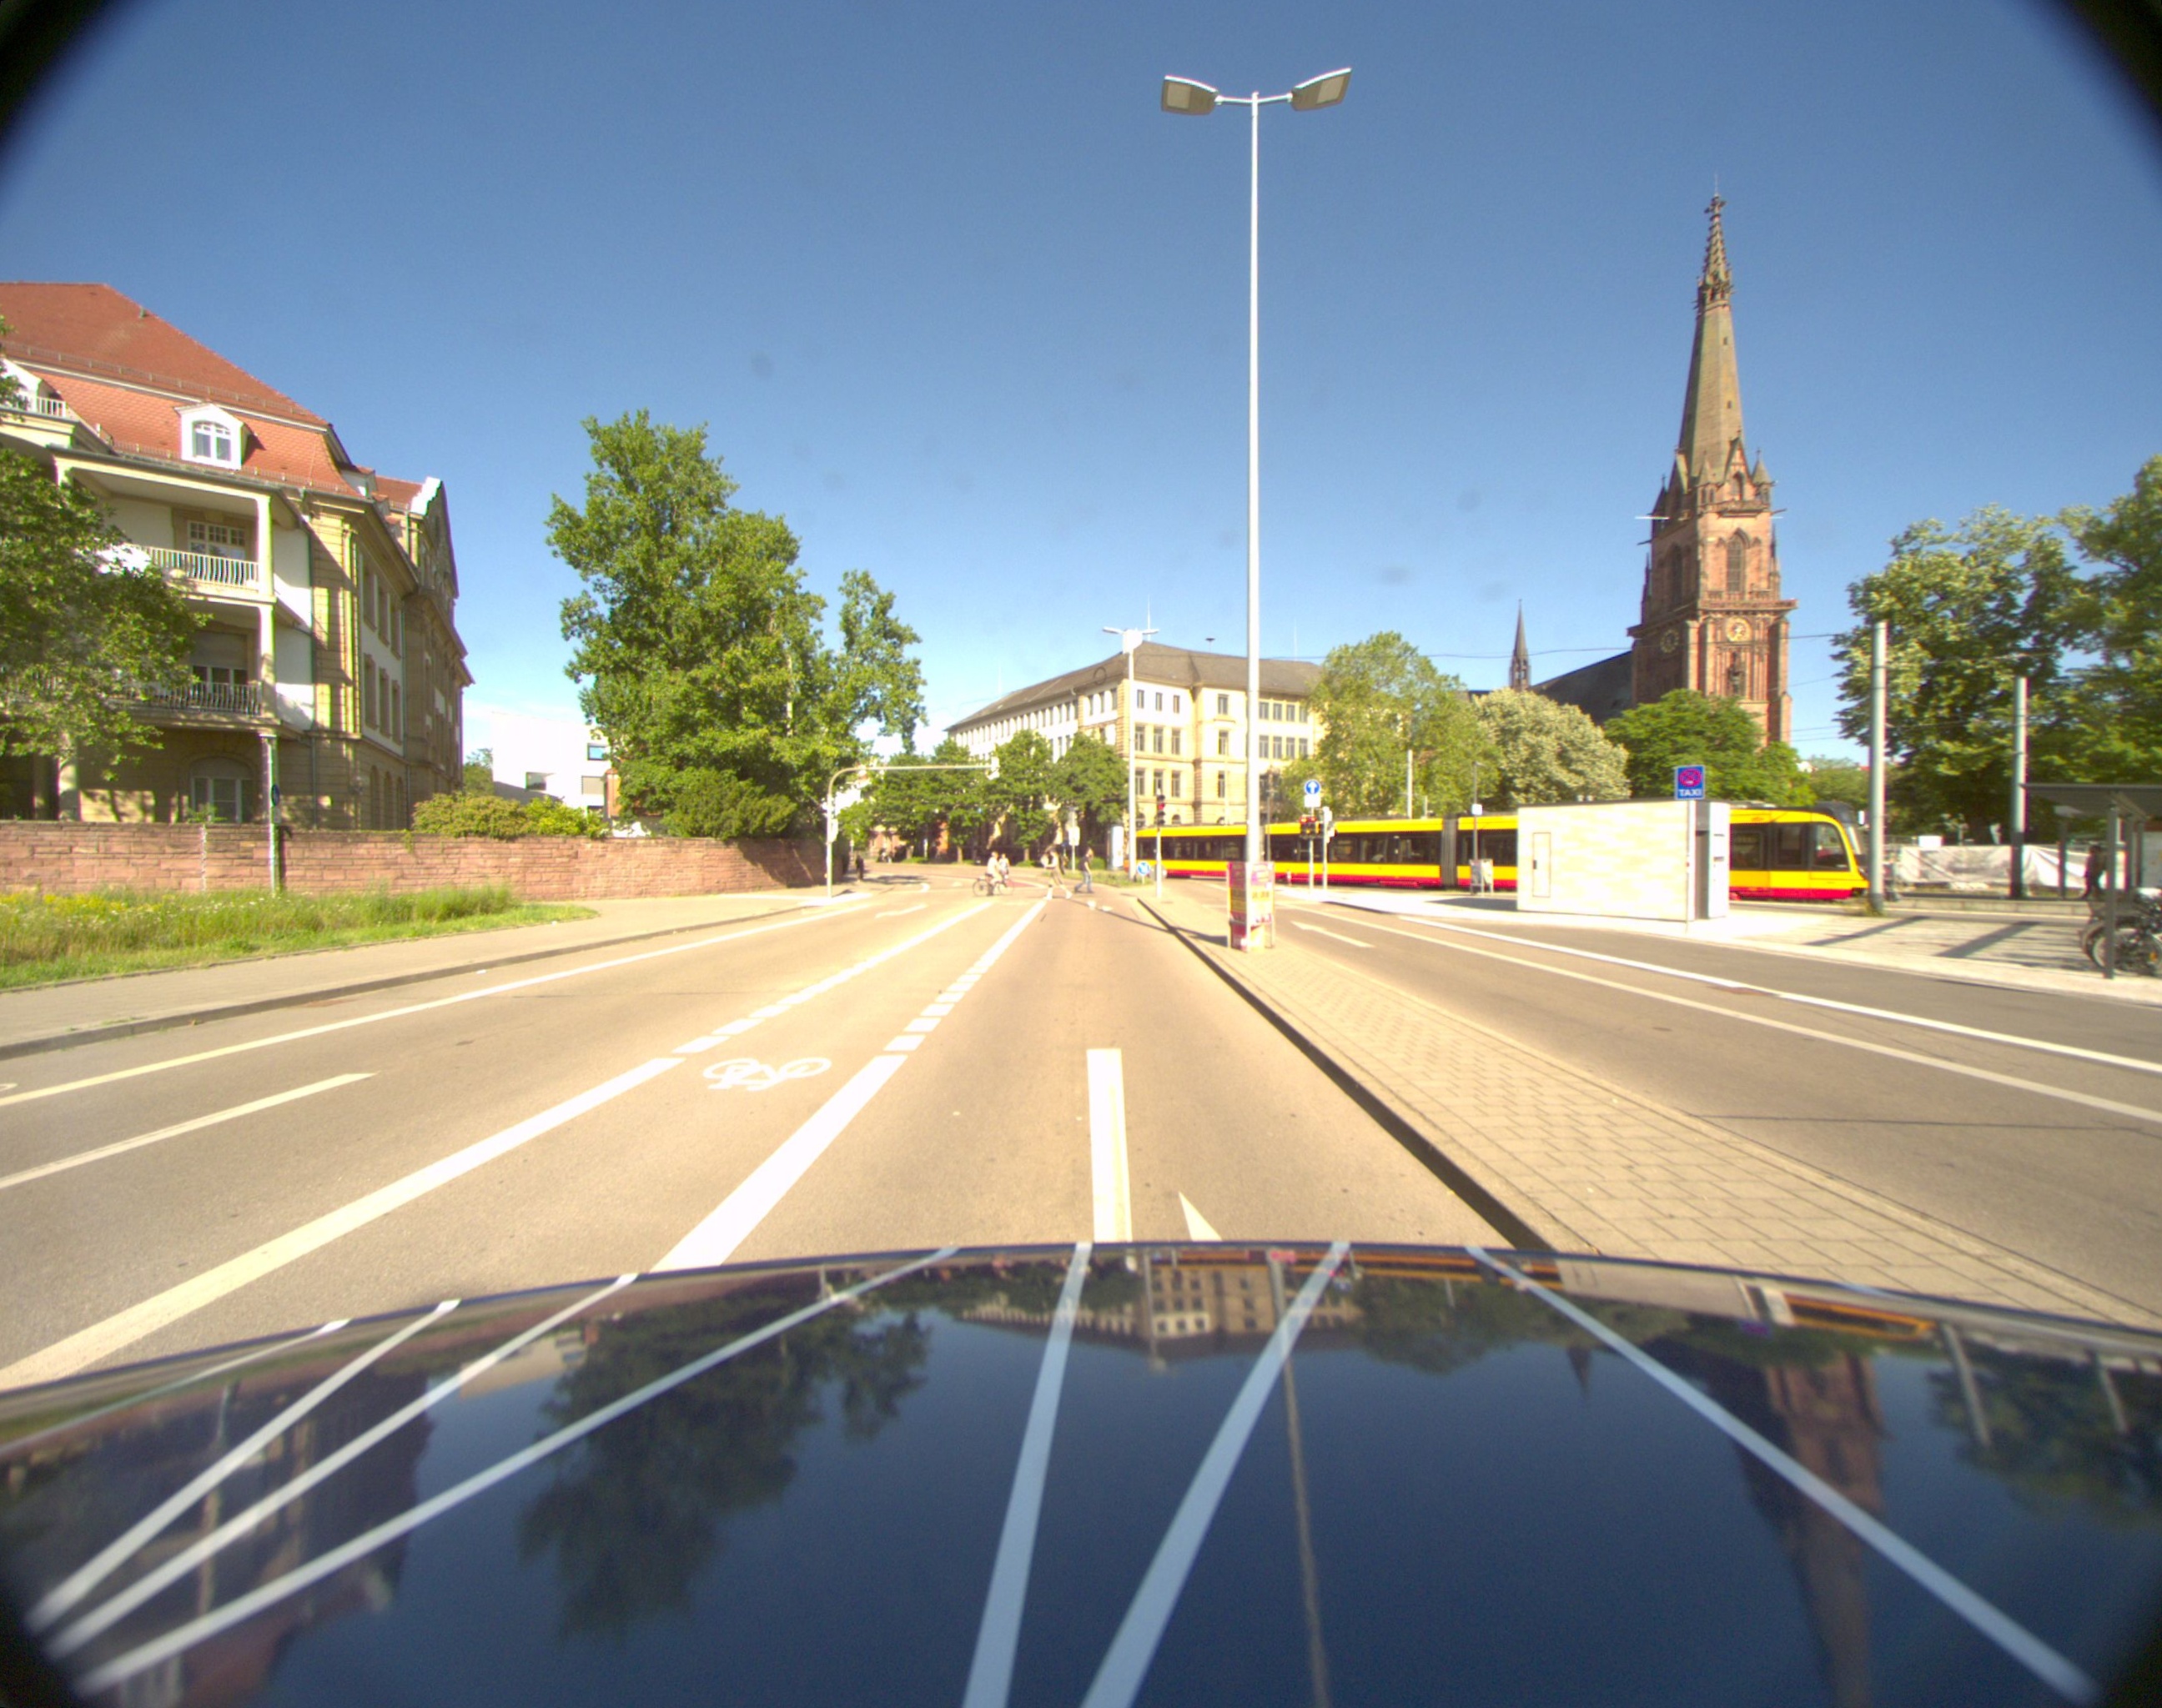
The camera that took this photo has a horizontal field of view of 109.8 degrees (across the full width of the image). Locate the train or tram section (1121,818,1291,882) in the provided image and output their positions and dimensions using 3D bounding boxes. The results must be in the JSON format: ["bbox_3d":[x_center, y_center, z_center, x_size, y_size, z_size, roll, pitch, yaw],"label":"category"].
[{"bbox_3d":[7.488,-0.284,48.444,2.806,3.580,12.504,-1,1,-35],"label":"train or tram section"}]

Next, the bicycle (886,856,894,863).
[{"bbox_3d":[-26.789,0.756,106.524,0.602,1.000,1.983,-3,1,-28],"label":"bicycle"}]

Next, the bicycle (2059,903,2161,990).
[{"bbox_3d":[13.936,1.207,9.590,0.702,1.002,1.863,-1,2,-32],"label":"bicycle"}]

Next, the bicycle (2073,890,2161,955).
[{"bbox_3d":[17.814,1.137,12.459,0.630,1.002,1.826,-1,1,-32],"label":"bicycle"}]

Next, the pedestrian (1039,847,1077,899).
[{"bbox_3d":[-0.846,0.670,27.685,1.230,1.845,0.826,0,1,-17],"label":"pedestrian"}]

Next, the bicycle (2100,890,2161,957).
[{"bbox_3d":[17.167,1.100,11.623,0.630,1.002,1.826,-1,1,-32],"label":"bicycle"}]

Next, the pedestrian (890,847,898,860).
[{"bbox_3d":[-27.265,-0.052,110.826,0.759,1.802,0.977,-1,1,-40],"label":"pedestrian"}]

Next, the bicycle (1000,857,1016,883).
[{"bbox_3d":[-4.120,0.893,42.897,0.762,1.360,2.736,0,1,-8],"label":"bicycle"}]

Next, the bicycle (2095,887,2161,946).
[{"bbox_3d":[19.527,1.124,13.455,0.630,1.002,1.826,-1,1,-32],"label":"bicycle"}]

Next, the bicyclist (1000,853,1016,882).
[{"bbox_3d":[-4.120,0.746,42.776,0.870,1.551,1.279,0,1,-8],"label":"bicyclist"}]

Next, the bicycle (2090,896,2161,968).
[{"bbox_3d":[16.180,1.162,10.998,0.630,1.002,1.826,-1,1,-32],"label":"bicycle"}]

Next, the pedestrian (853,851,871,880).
[{"bbox_3d":[-13.166,0.709,45.720,0.940,1.711,0.994,0,1,-12],"label":"pedestrian"}]

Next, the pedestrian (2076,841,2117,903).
[{"bbox_3d":[30.932,0.526,23.156,0.606,1.845,0.679,-1,1,-42],"label":"pedestrian"}]

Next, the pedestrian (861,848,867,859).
[{"bbox_3d":[-35.593,-0.070,124.646,0.759,1.802,0.978,-1,1,-38],"label":"pedestrian"}]

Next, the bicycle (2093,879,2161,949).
[{"bbox_3d":[18.948,1.048,13.047,0.630,1.173,1.826,-1,1,-32],"label":"bicycle"}]

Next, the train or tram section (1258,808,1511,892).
[{"bbox_3d":[14.576,-0.230,38.217,2.806,3.580,12.294,-1,1,-35],"label":"train or tram section"}]

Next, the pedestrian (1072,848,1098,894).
[{"bbox_3d":[0.154,0.675,31.258,0.960,1.839,0.731,1,1,5],"label":"pedestrian"}]

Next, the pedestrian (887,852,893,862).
[{"bbox_3d":[-26.817,0.360,106.590,0.597,1.394,0.644,-3,2,-28],"label":"pedestrian"}]

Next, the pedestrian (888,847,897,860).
[{"bbox_3d":[-28.190,-0.053,113.832,0.979,1.801,0.758,-3,-2,12],"label":"pedestrian"}]

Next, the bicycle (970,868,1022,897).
[{"bbox_3d":[-3.389,1.123,30.266,1.886,1.064,0.723,-2,1,-20],"label":"bicycle"}]

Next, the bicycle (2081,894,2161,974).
[{"bbox_3d":[15.143,1.117,10.326,0.574,1.045,1.826,-1,1,-32],"label":"bicycle"}]

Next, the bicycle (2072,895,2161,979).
[{"bbox_3d":[14.673,1.131,10.060,0.630,1.059,1.826,-1,1,-32],"label":"bicycle"}]

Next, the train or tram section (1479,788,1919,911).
[{"bbox_3d":[21.591,-0.175,28.077,2.838,3.580,12.294,-1,1,-35],"label":"train or tram section"}]

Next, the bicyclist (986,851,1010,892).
[{"bbox_3d":[-3.299,0.705,30.298,0.778,1.596,0.721,-1,1,-20],"label":"bicyclist"}]
